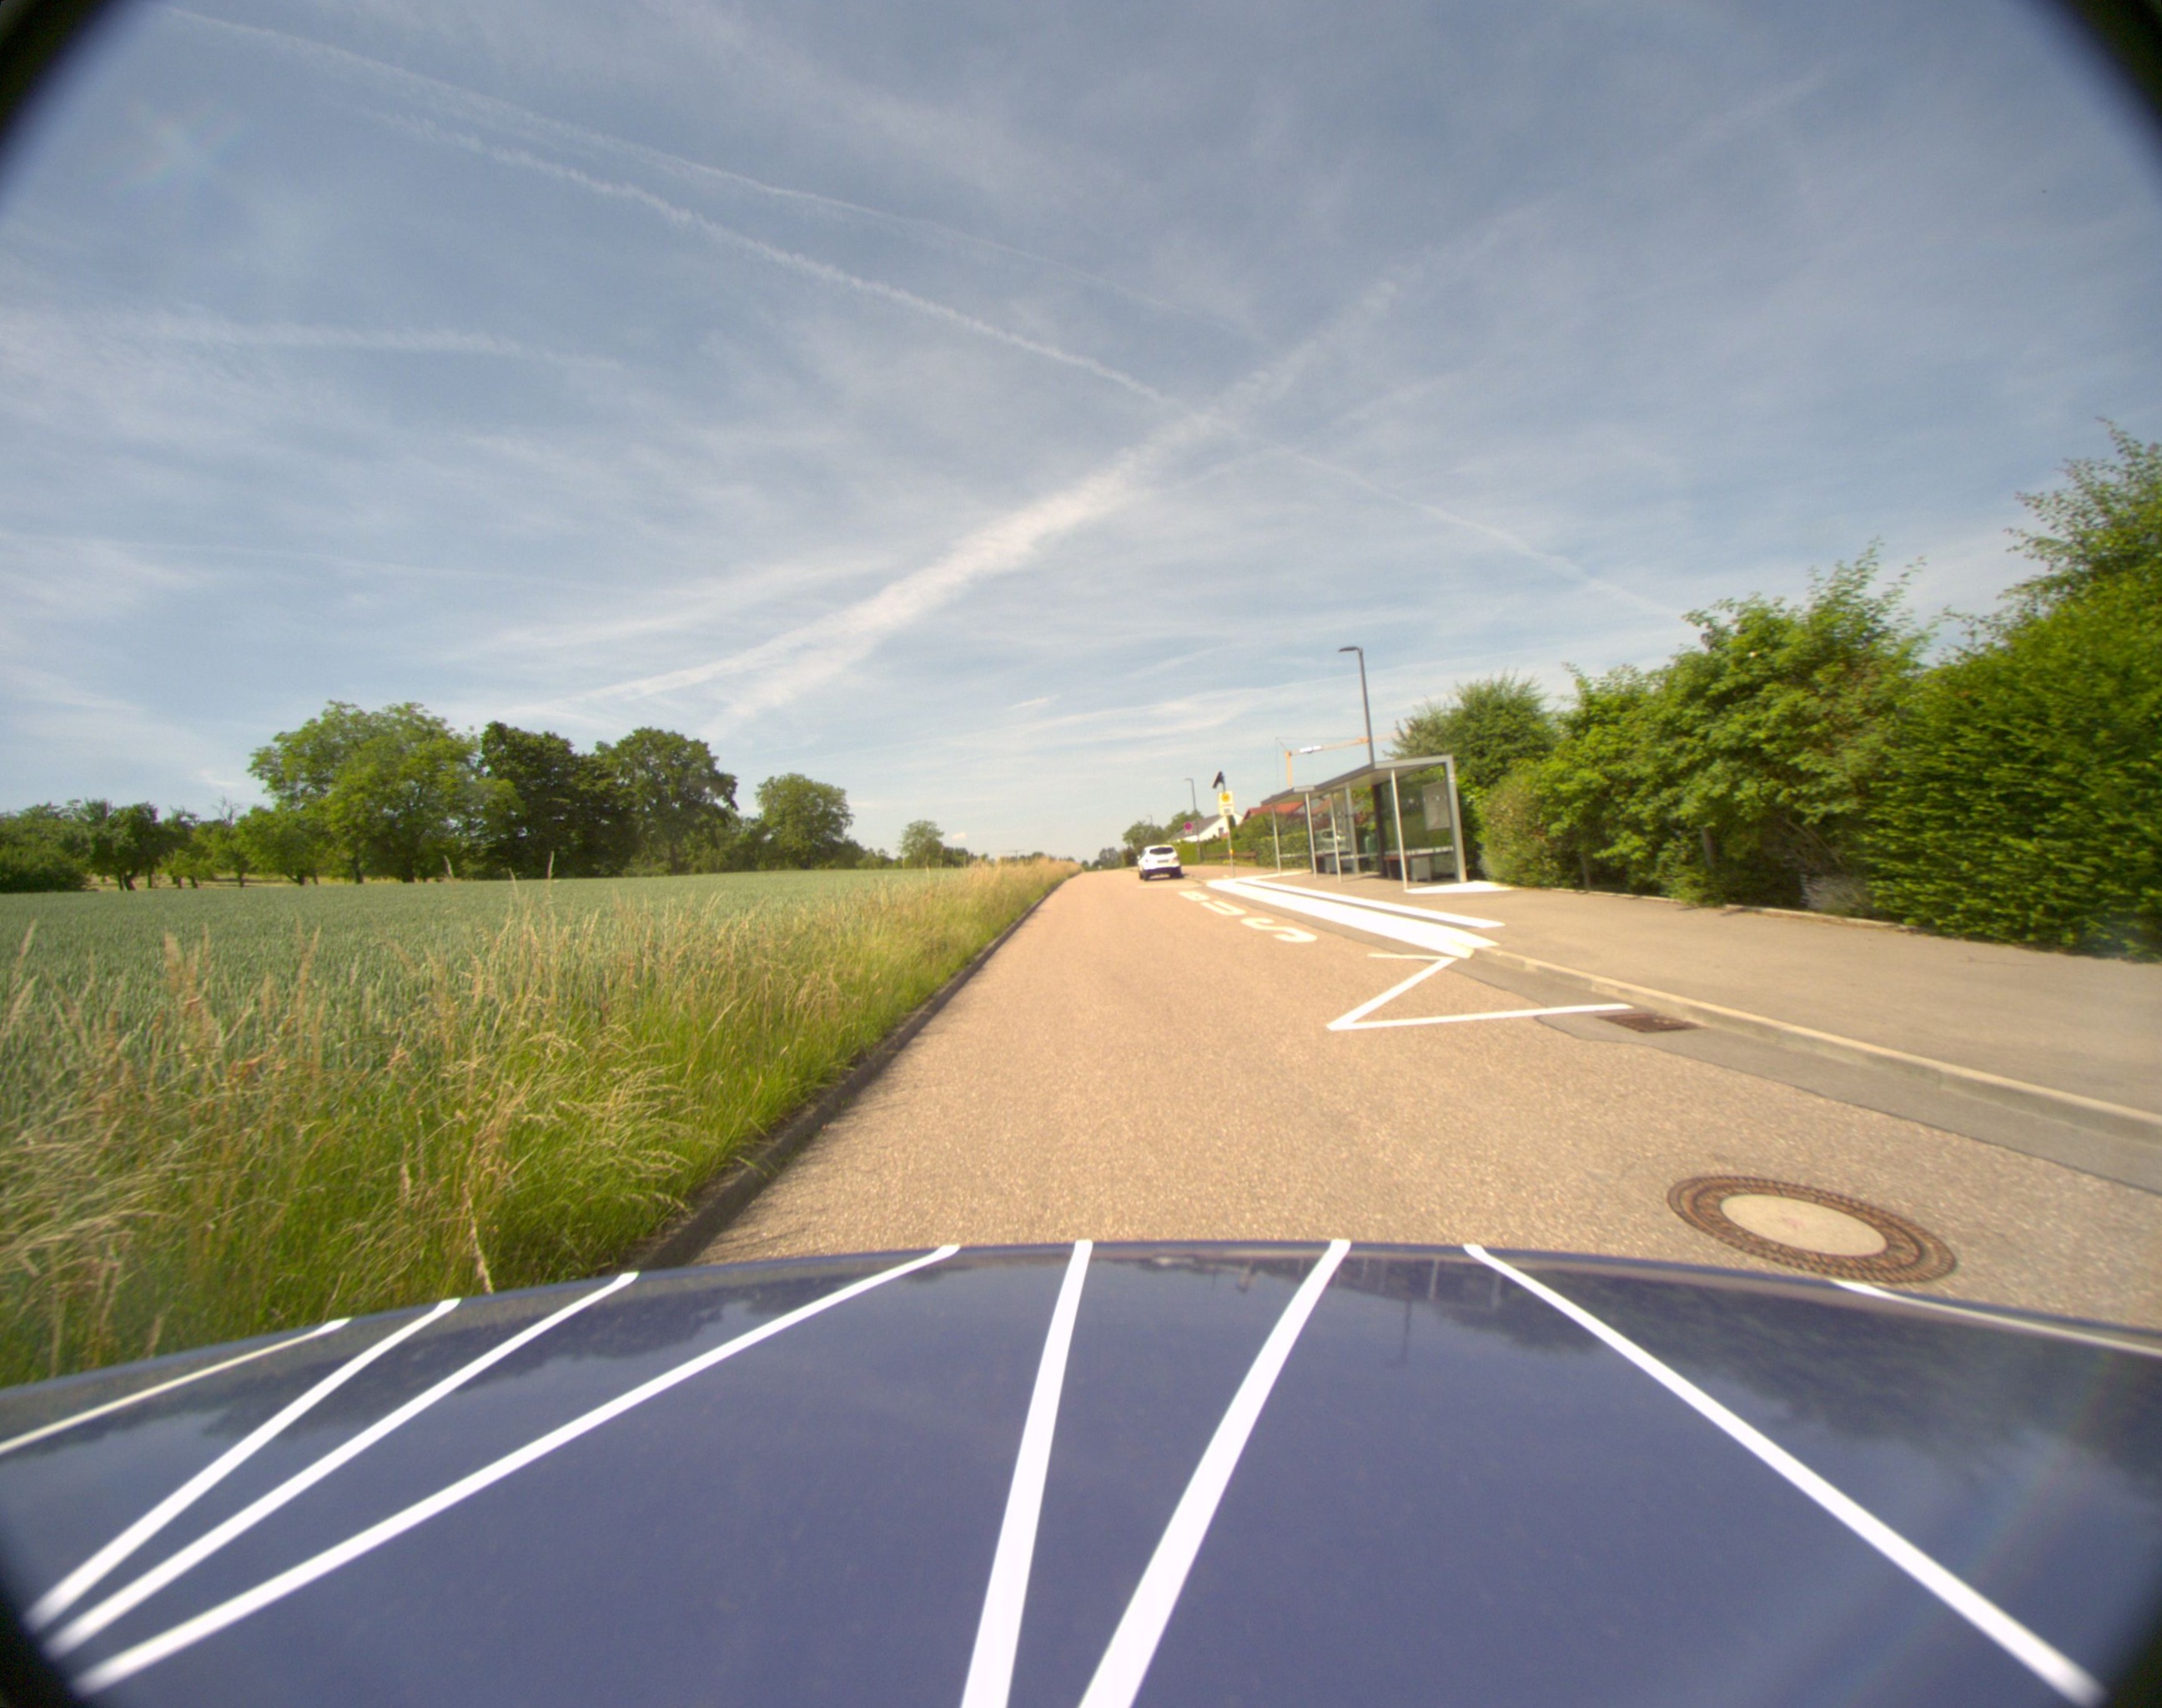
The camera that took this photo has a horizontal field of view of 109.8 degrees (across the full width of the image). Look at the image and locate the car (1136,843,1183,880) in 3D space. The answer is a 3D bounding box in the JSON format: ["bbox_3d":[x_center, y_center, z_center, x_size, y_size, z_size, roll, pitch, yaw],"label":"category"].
[{"bbox_3d":[3.823,0.344,37.517,1.738,1.624,4.352,-5,0,0],"label":"car"}]
